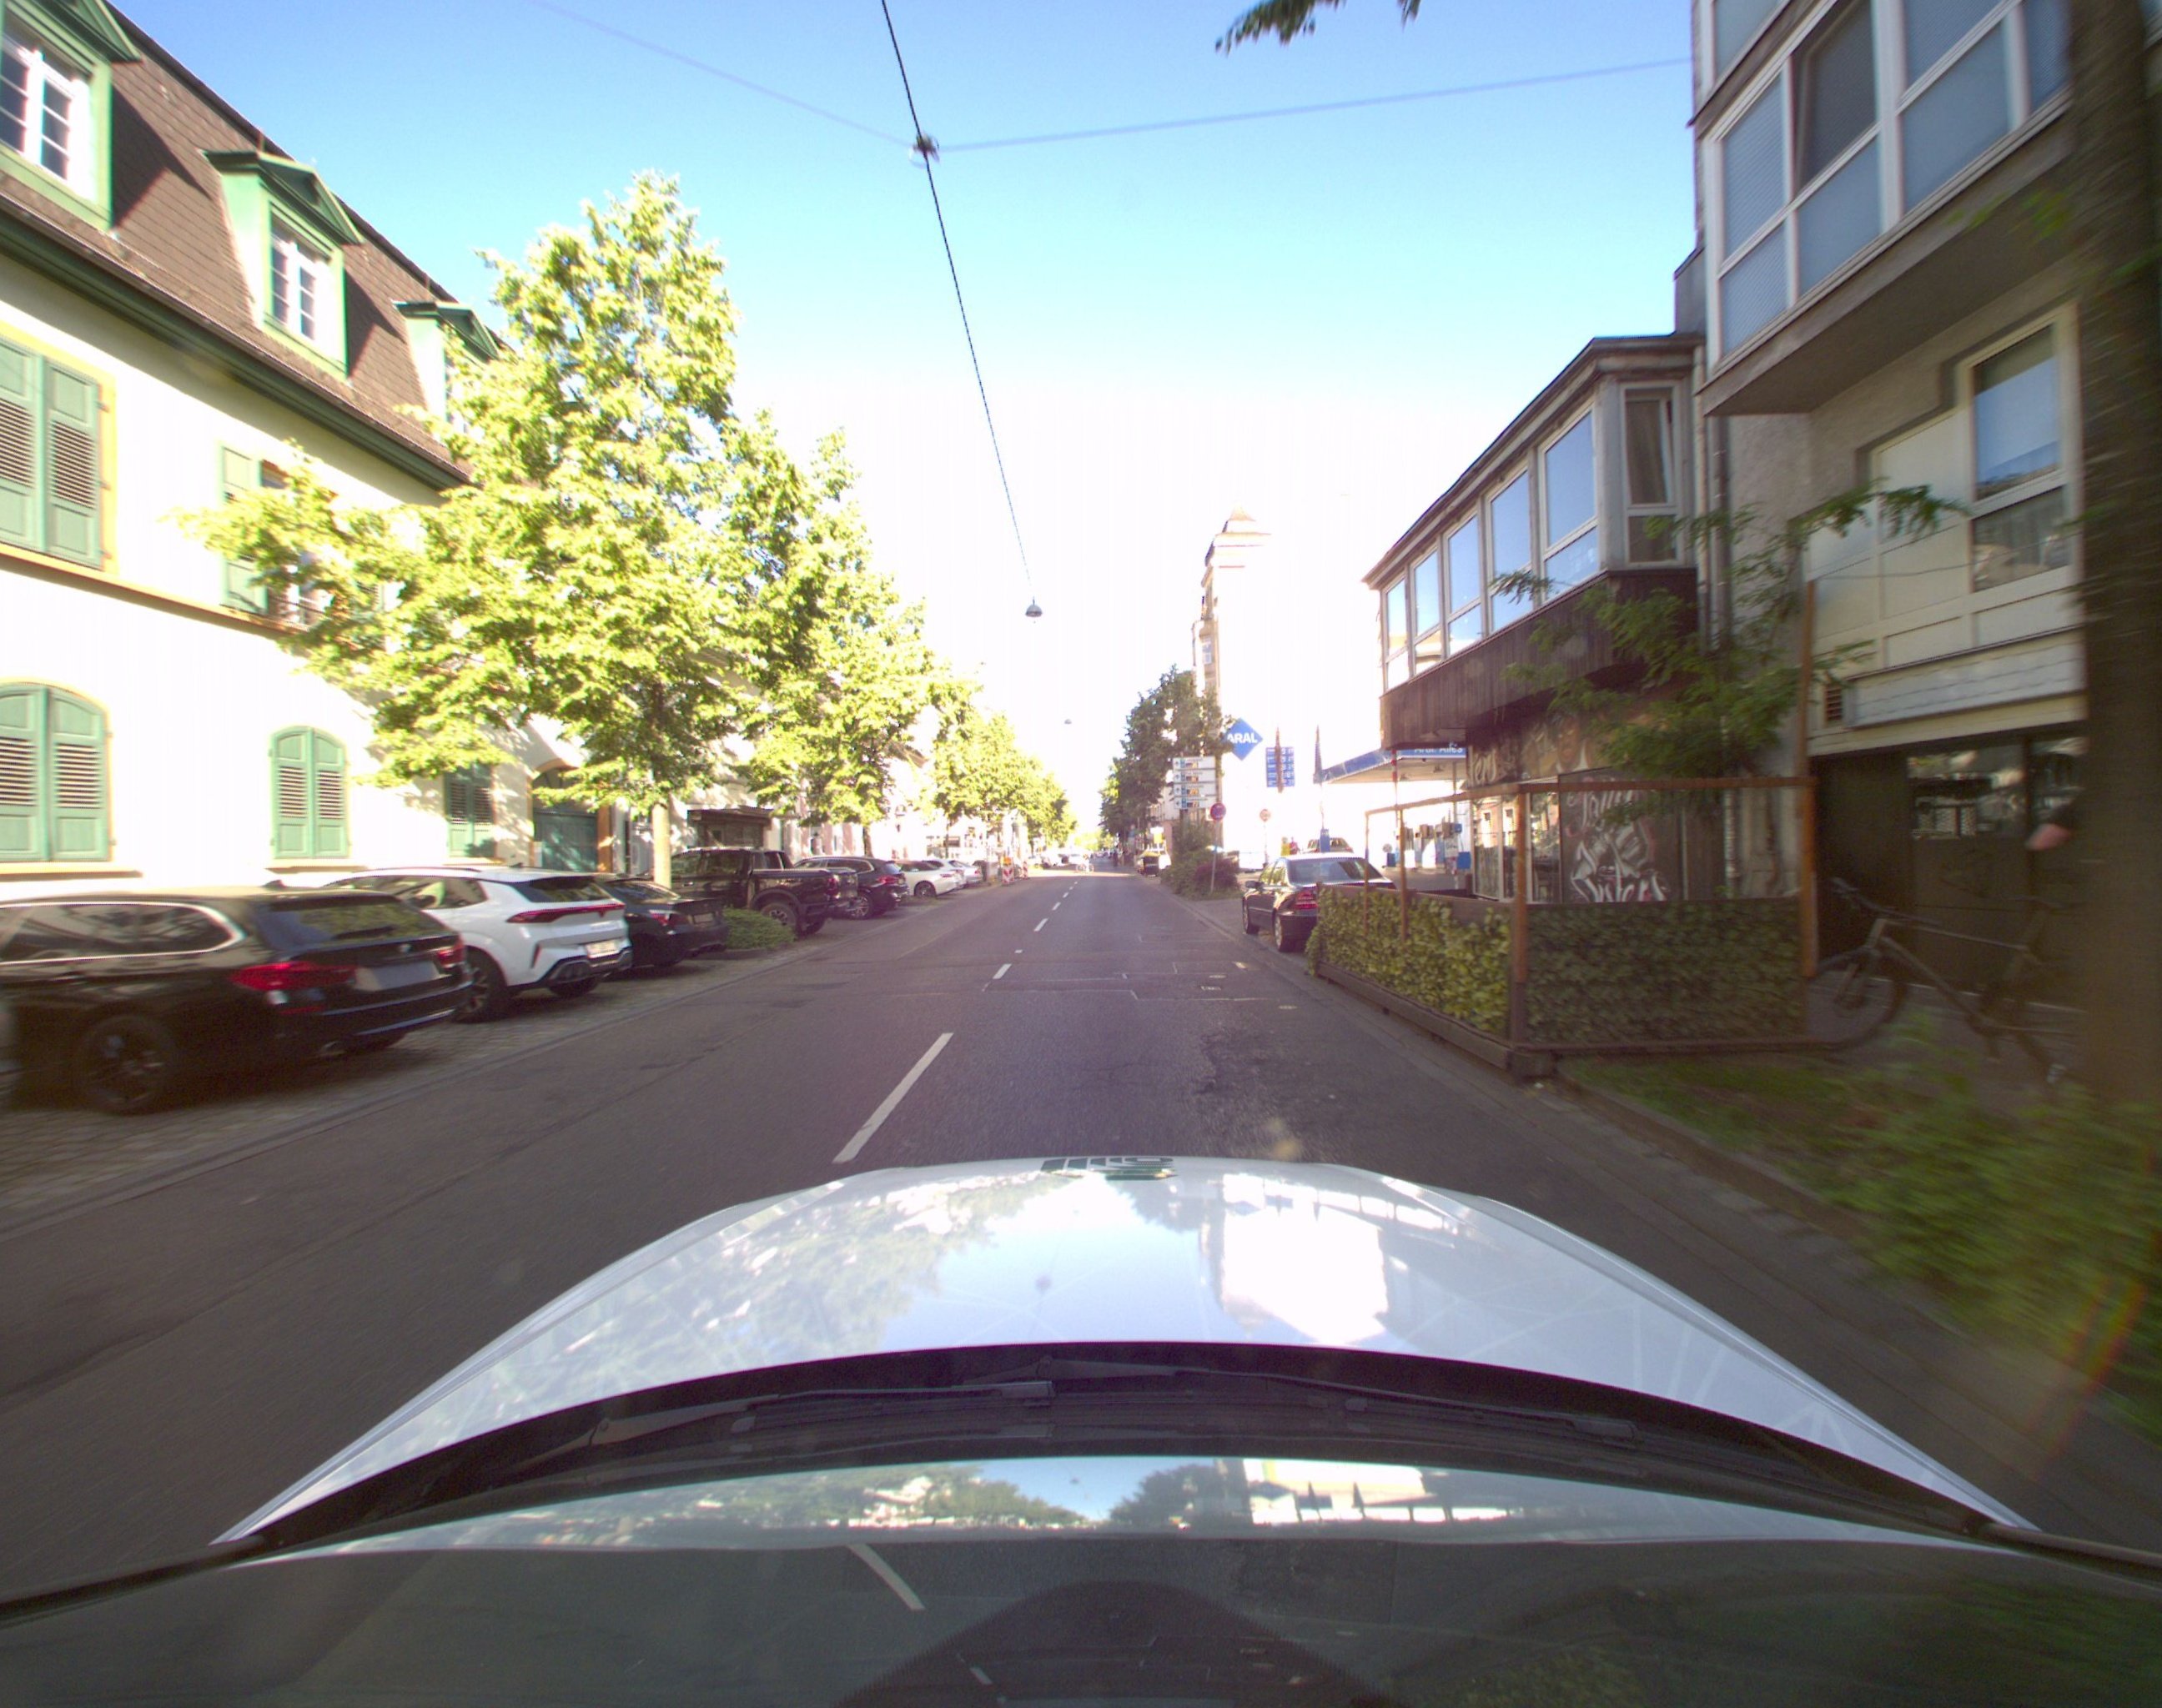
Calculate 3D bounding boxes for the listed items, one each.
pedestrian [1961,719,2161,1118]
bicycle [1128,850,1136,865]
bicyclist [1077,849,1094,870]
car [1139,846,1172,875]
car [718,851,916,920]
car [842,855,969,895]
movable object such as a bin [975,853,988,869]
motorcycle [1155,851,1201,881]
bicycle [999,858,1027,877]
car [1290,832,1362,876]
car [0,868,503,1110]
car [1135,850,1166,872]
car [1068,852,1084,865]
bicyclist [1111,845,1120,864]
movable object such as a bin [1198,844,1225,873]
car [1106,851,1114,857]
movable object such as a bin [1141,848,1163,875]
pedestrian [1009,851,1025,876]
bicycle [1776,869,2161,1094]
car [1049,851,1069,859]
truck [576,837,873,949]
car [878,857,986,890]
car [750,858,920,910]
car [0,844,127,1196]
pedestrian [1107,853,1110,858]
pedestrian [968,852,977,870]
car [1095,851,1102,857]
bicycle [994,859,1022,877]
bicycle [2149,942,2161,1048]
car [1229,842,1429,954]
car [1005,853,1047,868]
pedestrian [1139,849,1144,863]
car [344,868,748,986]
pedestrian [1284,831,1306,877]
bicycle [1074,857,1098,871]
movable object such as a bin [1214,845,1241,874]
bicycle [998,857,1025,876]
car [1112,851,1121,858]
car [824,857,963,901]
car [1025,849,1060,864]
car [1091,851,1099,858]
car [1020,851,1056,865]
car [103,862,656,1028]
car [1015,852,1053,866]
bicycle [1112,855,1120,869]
[{"bbox_3d":[5.460,0.305,4.254,0.916,1.935,0.765,-2,0,26],"label":"pedestrian"},{"bbox_3d":[5.325,0.340,85.405,0.559,1.441,1.629,-8,0,1],"label":"bicycle"},{"bbox_3d":[0.375,0.438,64.140,0.759,1.560,1.047,-2,0,42],"label":"bicyclist"},{"bbox_3d":[4.858,0.386,53.553,1.815,1.679,4.602,-4,0,2],"label":"car"},{"bbox_3d":[-6.962,0.816,21.793,4.661,1.693,1.809,-1,0,2],"label":"car"},{"bbox_3d":[-6.906,0.820,32.440,4.668,1.465,1.807,-1,0,-2],"label":"car"},{"bbox_3d":[-9.668,0.672,79.248,1.137,1.485,1.235,-2,0,-1],"label":"movable object such as a bin"},{"bbox_3d":[4.634,0.561,38.898,1.978,1.330,0.908,-2,0,-11],"label":"motorcycle"},{"bbox_3d":[-4.653,0.889,55.454,1.852,1.252,0.599,-1,0,-7],"label":"bicycle"},{"bbox_3d":[10.243,-0.011,34.360,1.893,1.648,4.296,-2,0,3],"label":"car"},{"bbox_3d":[-7.428,0.931,6.274,4.661,1.519,1.809,-1,0,2],"label":"car"},{"bbox_3d":[5.008,0.506,58.872,1.816,1.391,4.301,-4,0,0],"label":"car"},{"bbox_3d":[-0.603,0.582,103.407,1.796,1.435,4.409,-4,0,0],"label":"car"},{"bbox_3d":[3.137,0.004,73.855,0.716,1.693,1.157,-2,0,2],"label":"bicyclist"},{"bbox_3d":[7.463,0.254,46.632,1.202,1.627,1.498,-2,0,0],"label":"movable object such as a bin"},{"bbox_3d":[7.255,-0.004,206.101,1.987,1.508,4.000,-1,-1,1],"label":"car"},{"bbox_3d":[4.297,0.459,49.376,1.136,1.562,1.463,-2,0,9],"label":"movable object such as a bin"},{"bbox_3d":[-4.427,0.643,56.128,0.797,1.707,0.759,-1,0,-32],"label":"pedestrian"},{"bbox_3d":[5.437,0.683,5.007,0.686,1.148,1.665,-2,0,-41],"label":"bicycle"},{"bbox_3d":[-4.445,0.184,168.052,3.974,1.500,2.000,-2,0,0],"label":"car"},{"bbox_3d":[-7.065,0.743,16.557,5.067,1.938,2.000,-2,0,0],"label":"truck"},{"bbox_3d":[-6.860,0.873,37.847,4.668,1.412,1.807,-1,0,-2],"label":"car"},{"bbox_3d":[-7.544,0.895,25.254,4.661,1.463,1.809,-1,0,2],"label":"car"},{"bbox_3d":[-7.614,0.856,3.591,4.664,1.712,1.808,-1,0,0],"label":"car"},{"bbox_3d":[6.137,0.336,181.592,0.544,1.026,0.546,-2,0,-1],"label":"pedestrian"},{"bbox_3d":[-9.866,0.651,74.131,0.769,1.643,0.689,-2,0,-4],"label":"pedestrian"},{"bbox_3d":[4.779,0.030,221.415,1.786,1.411,4.001,-2,0,1],"label":"car"},{"bbox_3d":[-4.899,0.928,54.784,1.852,1.170,0.599,-1,0,-7],"label":"bicycle"},{"bbox_3d":[3.650,0.774,1.430,0.607,1.120,2.050,-9,1,-8],"label":"bicycle"},{"bbox_3d":[3.805,0.595,13.436,1.894,1.412,4.648,-3,0,1],"label":"car"},{"bbox_3d":[-5.499,0.637,81.626,3.974,1.390,2.000,-2,0,0],"label":"car"},{"bbox_3d":[7.143,0.197,96.027,0.545,1.649,0.665,-2,0,2],"label":"pedestrian"},{"bbox_3d":[-7.537,1.002,11.788,4.661,1.463,1.809,-1,0,2],"label":"car"},{"bbox_3d":[8.827,-0.001,33.632,0.704,1.850,0.689,-2,0,4],"label":"pedestrian"},{"bbox_3d":[0.366,0.766,64.142,0.759,1.059,1.968,-2,0,41],"label":"bicycle"},{"bbox_3d":[8.135,0.284,45.255,1.267,1.530,1.176,-2,0,-1],"label":"movable object such as a bin"},{"bbox_3d":[-4.840,0.866,56.471,1.852,1.252,0.599,-1,0,-7],"label":"bicycle"},{"bbox_3d":[8.069,0.209,186.444,1.987,1.508,4.000,-1,-1,1],"label":"car"},{"bbox_3d":[-6.804,0.876,29.874,4.668,1.465,1.807,-1,0,-2],"label":"car"},{"bbox_3d":[-4.673,0.335,100.321,3.967,1.694,2.003,-2,0,5],"label":"car"},{"bbox_3d":[3.179,0.176,186.611,1.816,1.391,4.301,-4,0,0],"label":"car"},{"bbox_3d":[-5.092,0.460,97.526,3.967,1.457,1.871,-2,0,5],"label":"car"},{"bbox_3d":[-7.577,0.936,9.115,4.661,1.572,1.809,-1,0,2],"label":"car"},{"bbox_3d":[-5.028,0.544,87.409,3.974,1.390,2.000,-2,0,0],"label":"car"},{"bbox_3d":[3.153,0.682,73.852,0.716,1.220,2.036,-2,0,2],"label":"bicycle"}]
